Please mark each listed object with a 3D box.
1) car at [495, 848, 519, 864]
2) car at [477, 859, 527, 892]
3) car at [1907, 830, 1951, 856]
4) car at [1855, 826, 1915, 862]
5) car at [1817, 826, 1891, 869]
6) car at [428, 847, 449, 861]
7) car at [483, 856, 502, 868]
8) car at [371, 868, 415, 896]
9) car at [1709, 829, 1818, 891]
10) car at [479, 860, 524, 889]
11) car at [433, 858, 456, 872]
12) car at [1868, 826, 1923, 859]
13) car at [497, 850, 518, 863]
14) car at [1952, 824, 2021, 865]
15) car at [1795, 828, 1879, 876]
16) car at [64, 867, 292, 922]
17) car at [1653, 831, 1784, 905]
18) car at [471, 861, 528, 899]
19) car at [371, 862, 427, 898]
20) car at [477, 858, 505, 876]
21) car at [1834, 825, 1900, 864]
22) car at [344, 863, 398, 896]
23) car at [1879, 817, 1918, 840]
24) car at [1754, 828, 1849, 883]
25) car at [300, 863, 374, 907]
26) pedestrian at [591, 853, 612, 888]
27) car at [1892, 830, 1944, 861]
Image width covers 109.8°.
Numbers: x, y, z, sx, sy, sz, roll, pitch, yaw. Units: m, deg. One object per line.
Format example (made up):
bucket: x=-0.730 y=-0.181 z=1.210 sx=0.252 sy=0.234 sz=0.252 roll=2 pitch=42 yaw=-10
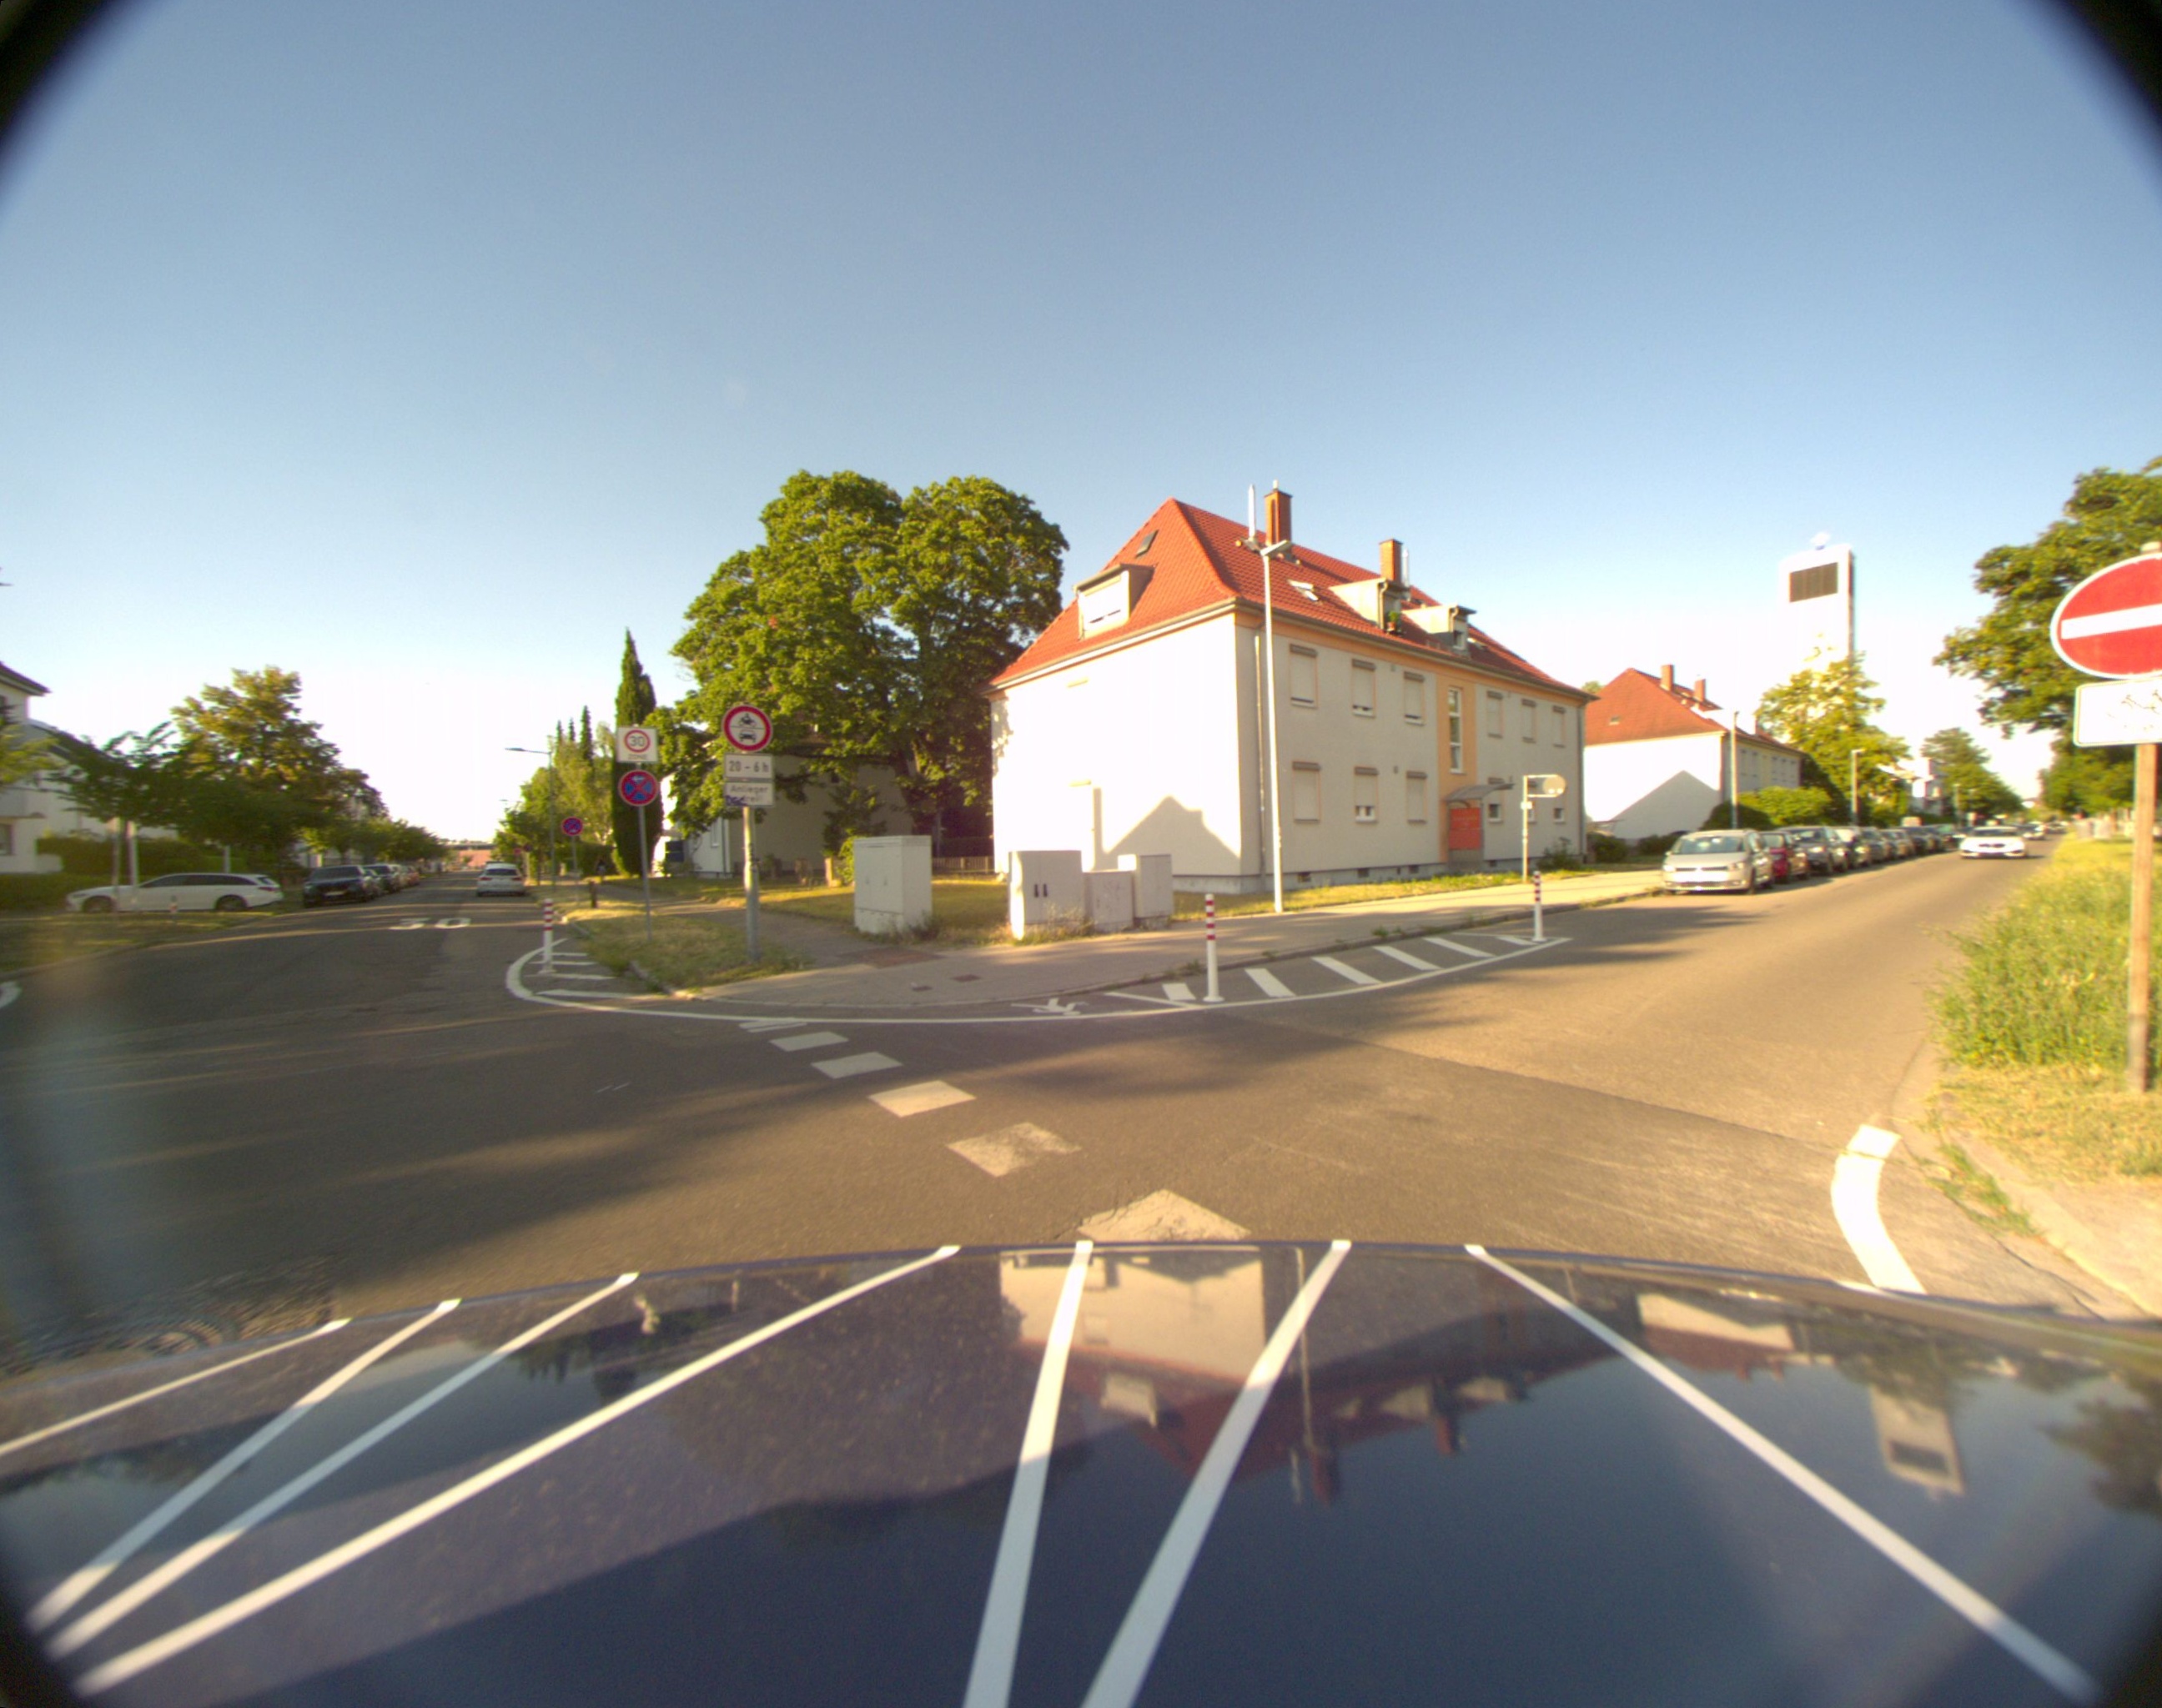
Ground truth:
car: x=-64.136 y=0.230 z=84.847 sx=1.975 sy=1.605 sz=4.235 roll=-2 pitch=1 yaw=-39
car: x=-31.439 y=1.130 z=41.219 sx=1.975 sy=1.605 sz=4.235 roll=-2 pitch=1 yaw=-39
car: x=58.528 y=-0.785 z=52.441 sx=3.351 sy=1.707 sz=1.802 roll=-3 pitch=3 yaw=-38
car: x=41.974 y=-0.524 z=39.665 sx=4.007 sy=1.685 sz=1.846 roll=-2 pitch=0 yaw=-40
car: x=33.449 y=-0.298 z=32.858 sx=4.007 sy=1.685 sz=1.846 roll=-2 pitch=0 yaw=-40
car: x=-85.282 y=0.003 z=100.892 sx=1.975 sy=1.765 sz=4.235 roll=-3 pitch=2 yaw=-41
car: x=-82.143 y=1.057 z=106.003 sx=1.975 sy=1.605 sz=4.235 roll=-2 pitch=1 yaw=-39
car: x=-44.001 y=1.761 z=48.671 sx=1.975 sy=1.605 sz=4.235 roll=-3 pitch=2 yaw=-41
car: x=20.764 y=0.161 z=23.070 sx=4.007 sy=1.685 sz=1.846 roll=-2 pitch=0 yaw=-40
car: x=-34.460 y=1.174 z=45.148 sx=1.975 sy=1.605 sz=4.235 roll=-2 pitch=1 yaw=-39
car: x=-77.689 y=1.295 z=92.785 sx=1.975 sy=1.605 sz=4.235 roll=-3 pitch=2 yaw=-41
car: x=45.776 y=-0.641 z=42.679 sx=4.007 sy=1.685 sz=1.846 roll=-2 pitch=0 yaw=-40
car: x=-73.357 y=0.285 z=97.223 sx=1.975 sy=1.605 sz=4.235 roll=-2 pitch=1 yaw=-39
car: x=40.673 y=-0.442 z=34.127 sx=4.308 sy=1.685 sz=1.866 roll=-2 pitch=0 yaw=-40
car: x=29.134 y=-0.105 z=29.250 sx=4.007 sy=1.685 sz=1.846 roll=-2 pitch=0 yaw=-40
car: x=-31.338 y=1.338 z=26.664 sx=4.847 sy=1.604 sz=1.966 roll=-2 pitch=1 yaw=-40
car: x=16.423 y=0.315 z=19.512 sx=4.007 sy=1.685 sz=1.846 roll=-2 pitch=0 yaw=-40
car: x=-27.788 y=1.180 z=36.264 sx=1.975 sy=1.605 sz=4.235 roll=-2 pitch=1 yaw=-39
car: x=-34.875 y=1.283 z=38.911 sx=1.975 sy=1.605 sz=4.235 roll=-3 pitch=2 yaw=-41
car: x=-55.831 y=1.201 z=71.918 sx=1.975 sy=1.605 sz=4.235 roll=-2 pitch=1 yaw=-39
car: x=37.426 y=-0.455 z=36.146 sx=4.007 sy=1.685 sz=1.846 roll=-2 pitch=0 yaw=-40
car: x=-38.789 y=1.370 z=41.569 sx=1.975 sy=1.605 sz=4.235 roll=-3 pitch=2 yaw=-41
car: x=64.900 y=-2.000 z=60.330 sx=4.007 sy=1.685 sz=1.846 roll=-2 pitch=0 yaw=-40
car: x=24.562 y=0.032 z=25.863 sx=4.007 sy=1.685 sz=1.846 roll=-2 pitch=0 yaw=-40
car: x=-31.417 y=1.248 z=32.202 sx=1.975 sy=1.605 sz=4.235 roll=-3 pitch=2 yaw=-41
pedestrian: x=-27.520 y=0.933 z=43.607 sx=0.900 sy=2.002 sz=0.691 roll=-3 pitch=2 yaw=-39
car: x=49.891 y=-0.519 z=45.279 sx=3.351 sy=1.707 sz=1.802 roll=-3 pitch=3 yaw=-38
